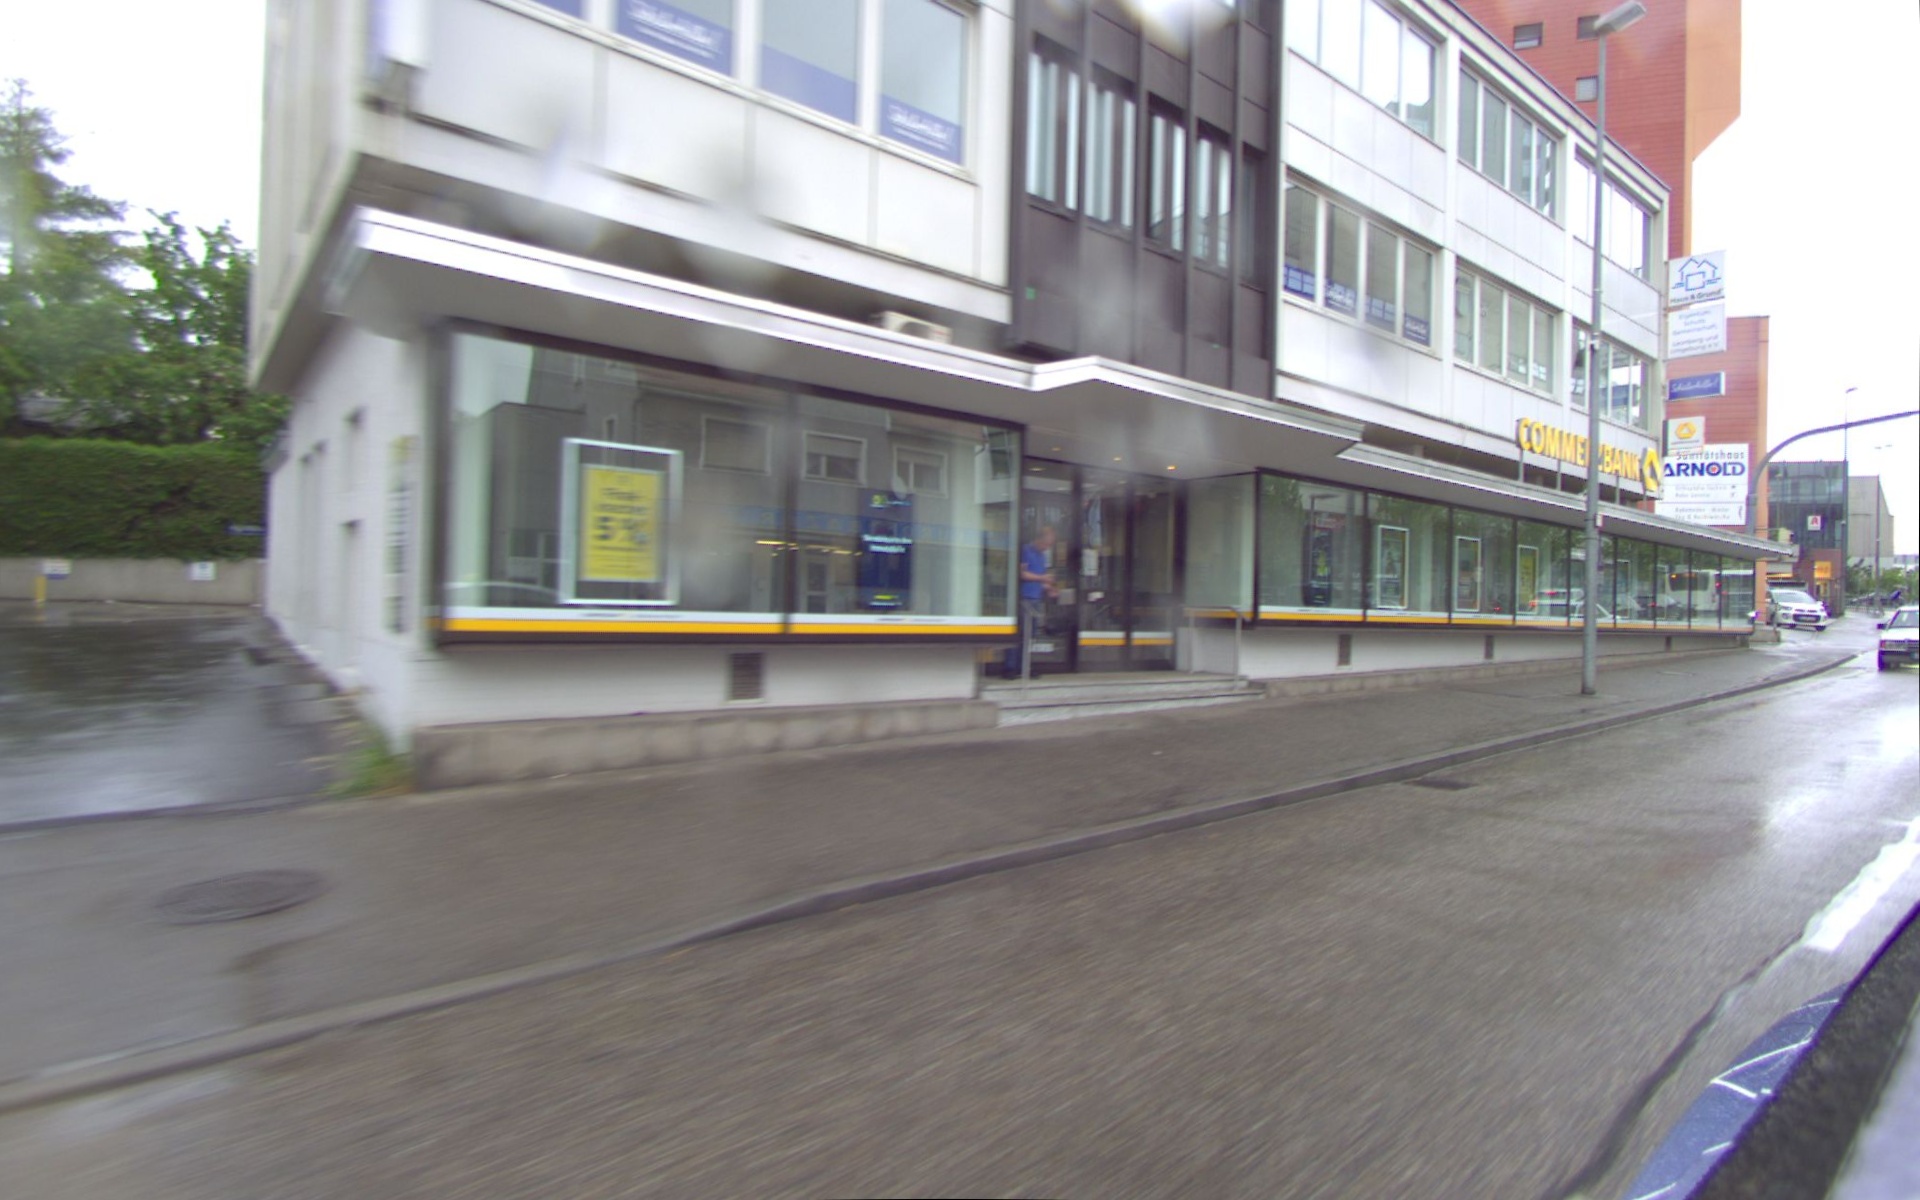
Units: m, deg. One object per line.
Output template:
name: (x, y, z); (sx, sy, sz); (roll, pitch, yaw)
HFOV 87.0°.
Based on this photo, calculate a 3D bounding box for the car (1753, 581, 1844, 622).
car: (32.225, 0.018, 38.992); (1.596, 1.480, 3.402); (1, 2, 20)

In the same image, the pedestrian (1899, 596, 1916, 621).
pedestrian: (71.675, 0.669, 76.527); (0.782, 1.825, 0.689); (0, 4, -35)

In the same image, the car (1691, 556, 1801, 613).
car: (34.997, -0.631, 45.237); (1.978, 2.237, 4.853); (3, -1, 14)

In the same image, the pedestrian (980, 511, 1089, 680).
pedestrian: (0.833, -0.042, 11.355); (0.934, 1.803, 0.732); (2, -1, -32)

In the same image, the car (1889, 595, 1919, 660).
car: (22.096, 0.604, 22.579); (3.927, 1.324, 1.660); (-1, 2, -43)
